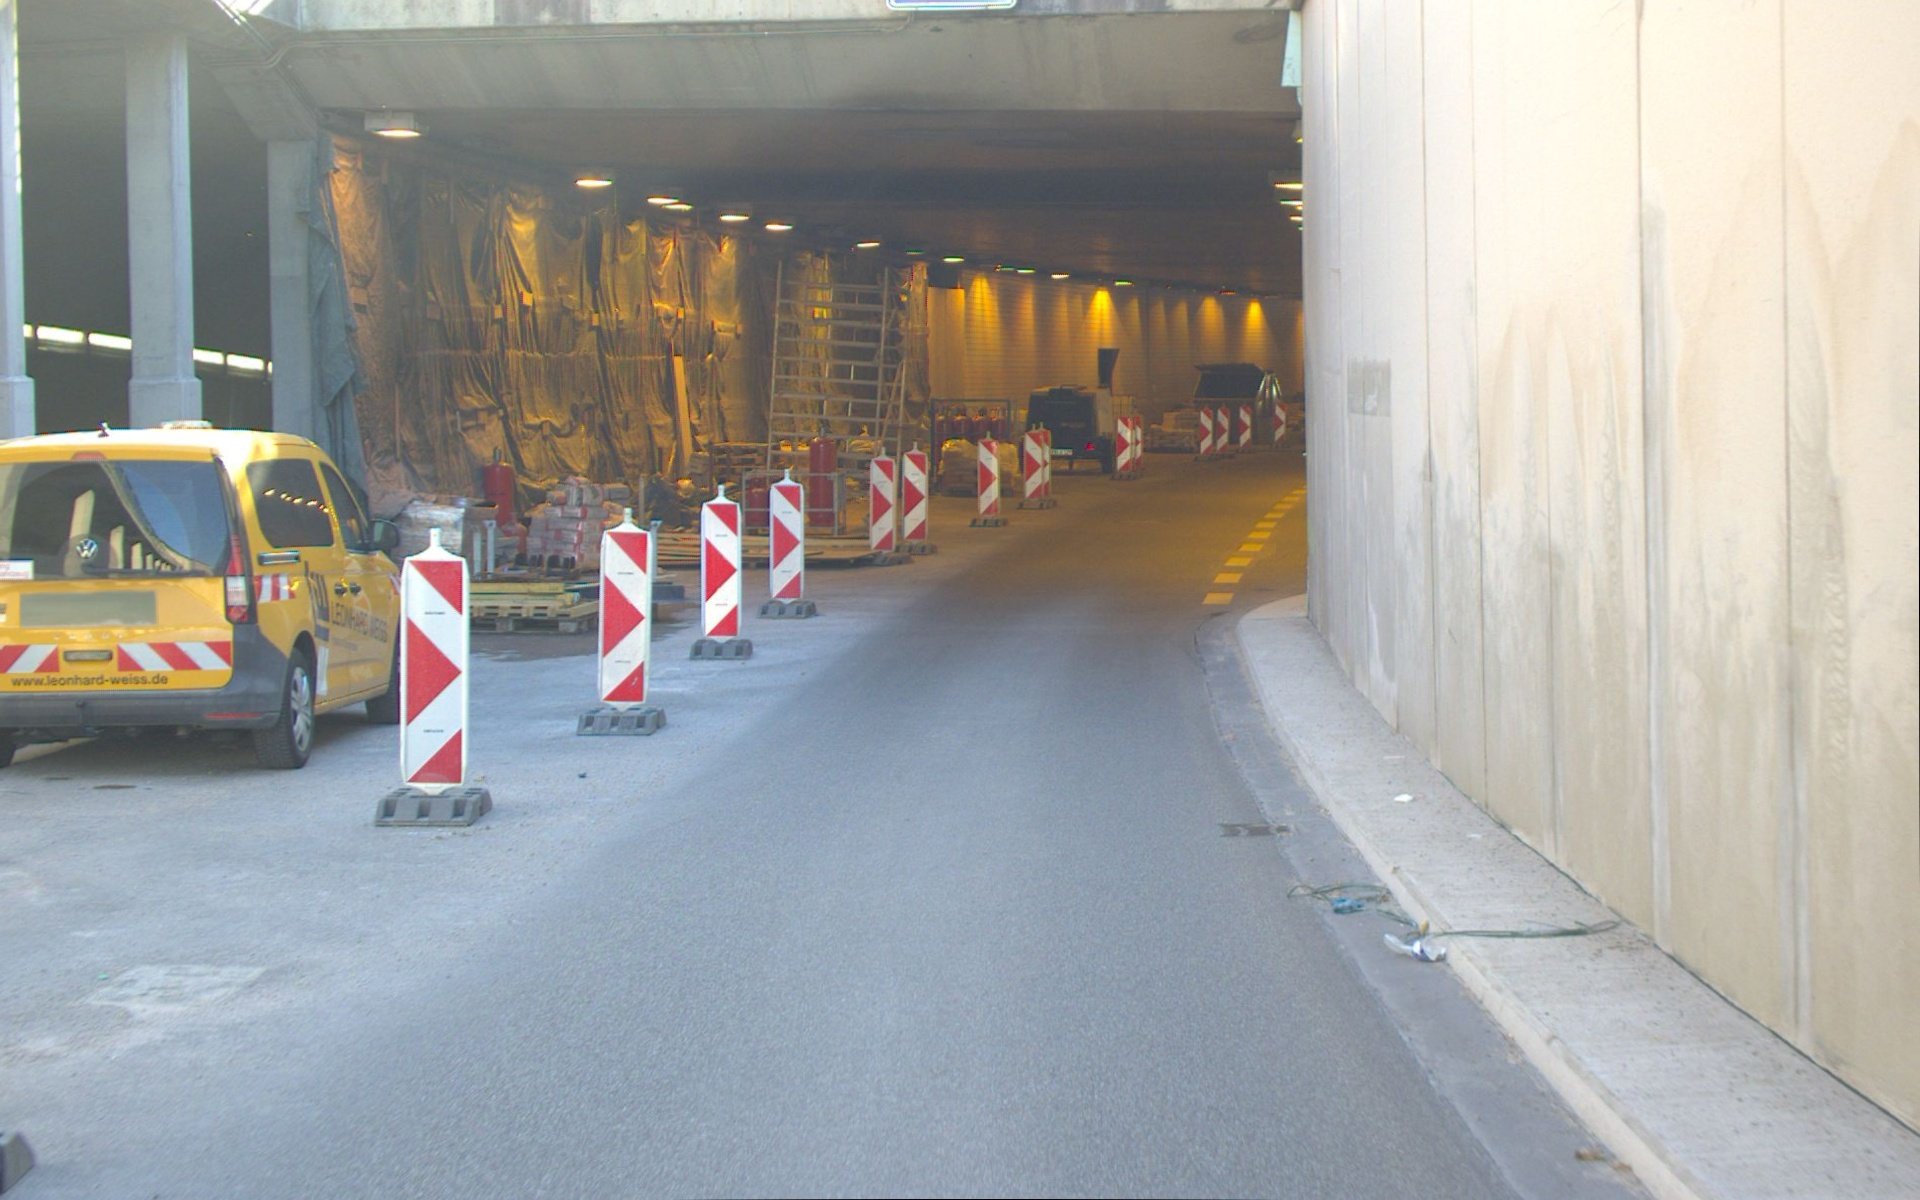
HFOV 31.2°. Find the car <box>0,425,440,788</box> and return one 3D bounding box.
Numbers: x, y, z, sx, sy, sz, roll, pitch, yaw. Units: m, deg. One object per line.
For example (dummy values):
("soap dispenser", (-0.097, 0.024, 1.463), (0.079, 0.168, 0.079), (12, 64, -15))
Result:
("car", (-4.259, -0.081, 19.230), (1.848, 1.769, 4.435), (0, 3, 2))

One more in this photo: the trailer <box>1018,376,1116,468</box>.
("trailer", (2.180, -3.620, 69.565), (1.581, 1.791, 2.939), (1, 4, 9))
